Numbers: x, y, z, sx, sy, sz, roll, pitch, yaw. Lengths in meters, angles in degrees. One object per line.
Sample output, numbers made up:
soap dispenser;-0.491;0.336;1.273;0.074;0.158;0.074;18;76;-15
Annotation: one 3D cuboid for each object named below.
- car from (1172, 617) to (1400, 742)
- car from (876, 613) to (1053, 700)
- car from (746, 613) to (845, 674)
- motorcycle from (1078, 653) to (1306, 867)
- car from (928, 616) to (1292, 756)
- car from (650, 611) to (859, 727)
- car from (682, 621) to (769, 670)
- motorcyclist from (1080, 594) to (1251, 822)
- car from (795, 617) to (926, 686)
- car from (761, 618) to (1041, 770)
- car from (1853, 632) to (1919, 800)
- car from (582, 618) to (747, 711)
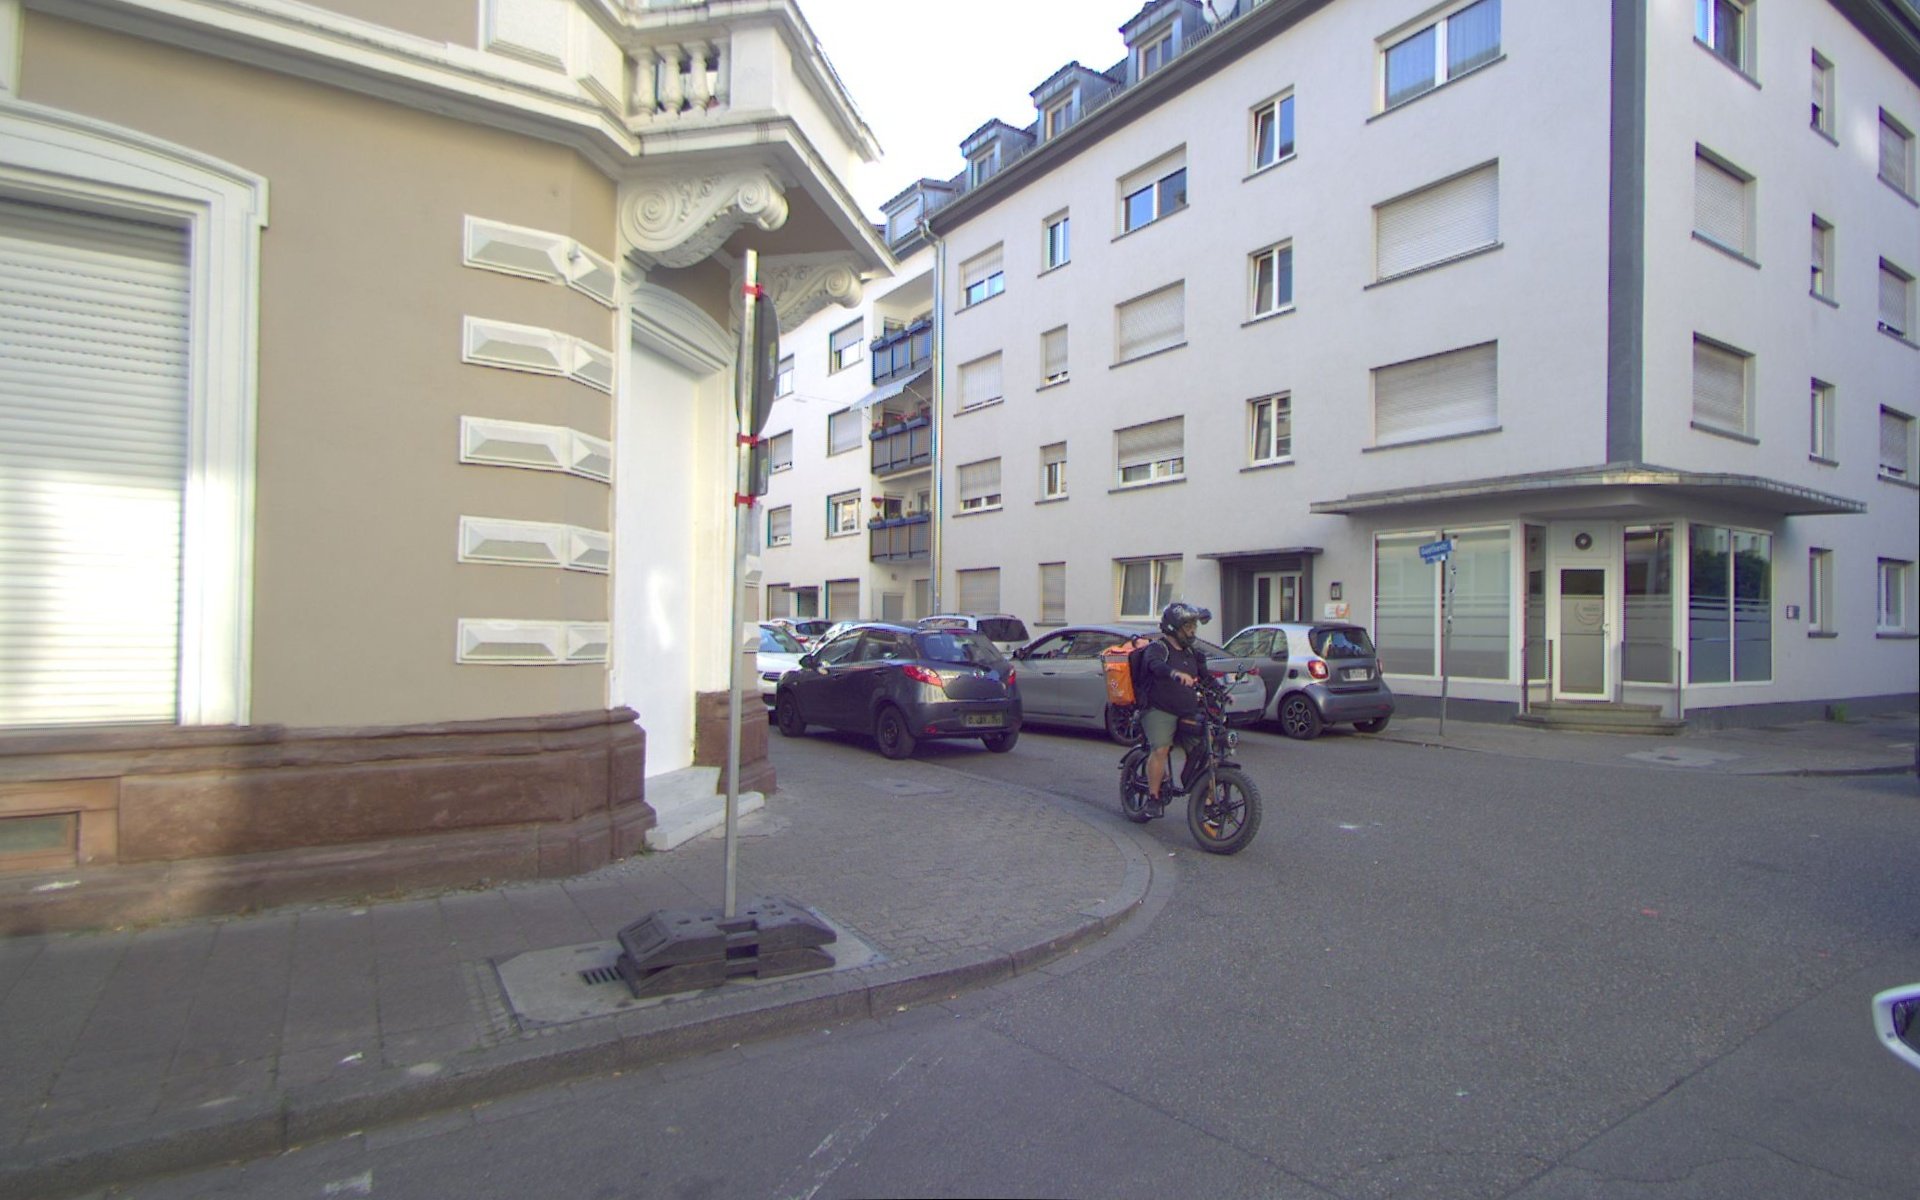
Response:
car;4.628;1.059;14.502;1.630;1.586;2.740;1;-1;-32
car;-0.006;1.157;22.068;1.979;1.675;4.055;2;-1;-34
car;-4.935;1.256;29.820;1.640;1.666;3.575;1;-1;-32
motorcycle;1.659;1.093;7.484;0.796;1.266;1.688;0;1;-24
car;1.846;1.007;13.534;1.987;1.506;4.602;2;-1;-44
car;-3.402;0.994;16.078;1.817;1.581;4.053;2;-1;-35
car;-8.086;1.518;34.429;1.574;1.507;3.944;1;-1;-35
motorcyclist;1.544;0.757;7.680;0.862;1.589;0.993;0;1;-25
car;-2.651;1.272;25.944;1.611;1.581;4.053;1;-1;-35
car;-0.837;1.000;12.140;1.672;1.499;3.551;2;-1;-37
car;10.635;1.094;9.610;3.952;1.506;1.984;2;-1;-30
car;-5.953;1.192;19.951;1.989;1.581;4.054;2;-1;-34
